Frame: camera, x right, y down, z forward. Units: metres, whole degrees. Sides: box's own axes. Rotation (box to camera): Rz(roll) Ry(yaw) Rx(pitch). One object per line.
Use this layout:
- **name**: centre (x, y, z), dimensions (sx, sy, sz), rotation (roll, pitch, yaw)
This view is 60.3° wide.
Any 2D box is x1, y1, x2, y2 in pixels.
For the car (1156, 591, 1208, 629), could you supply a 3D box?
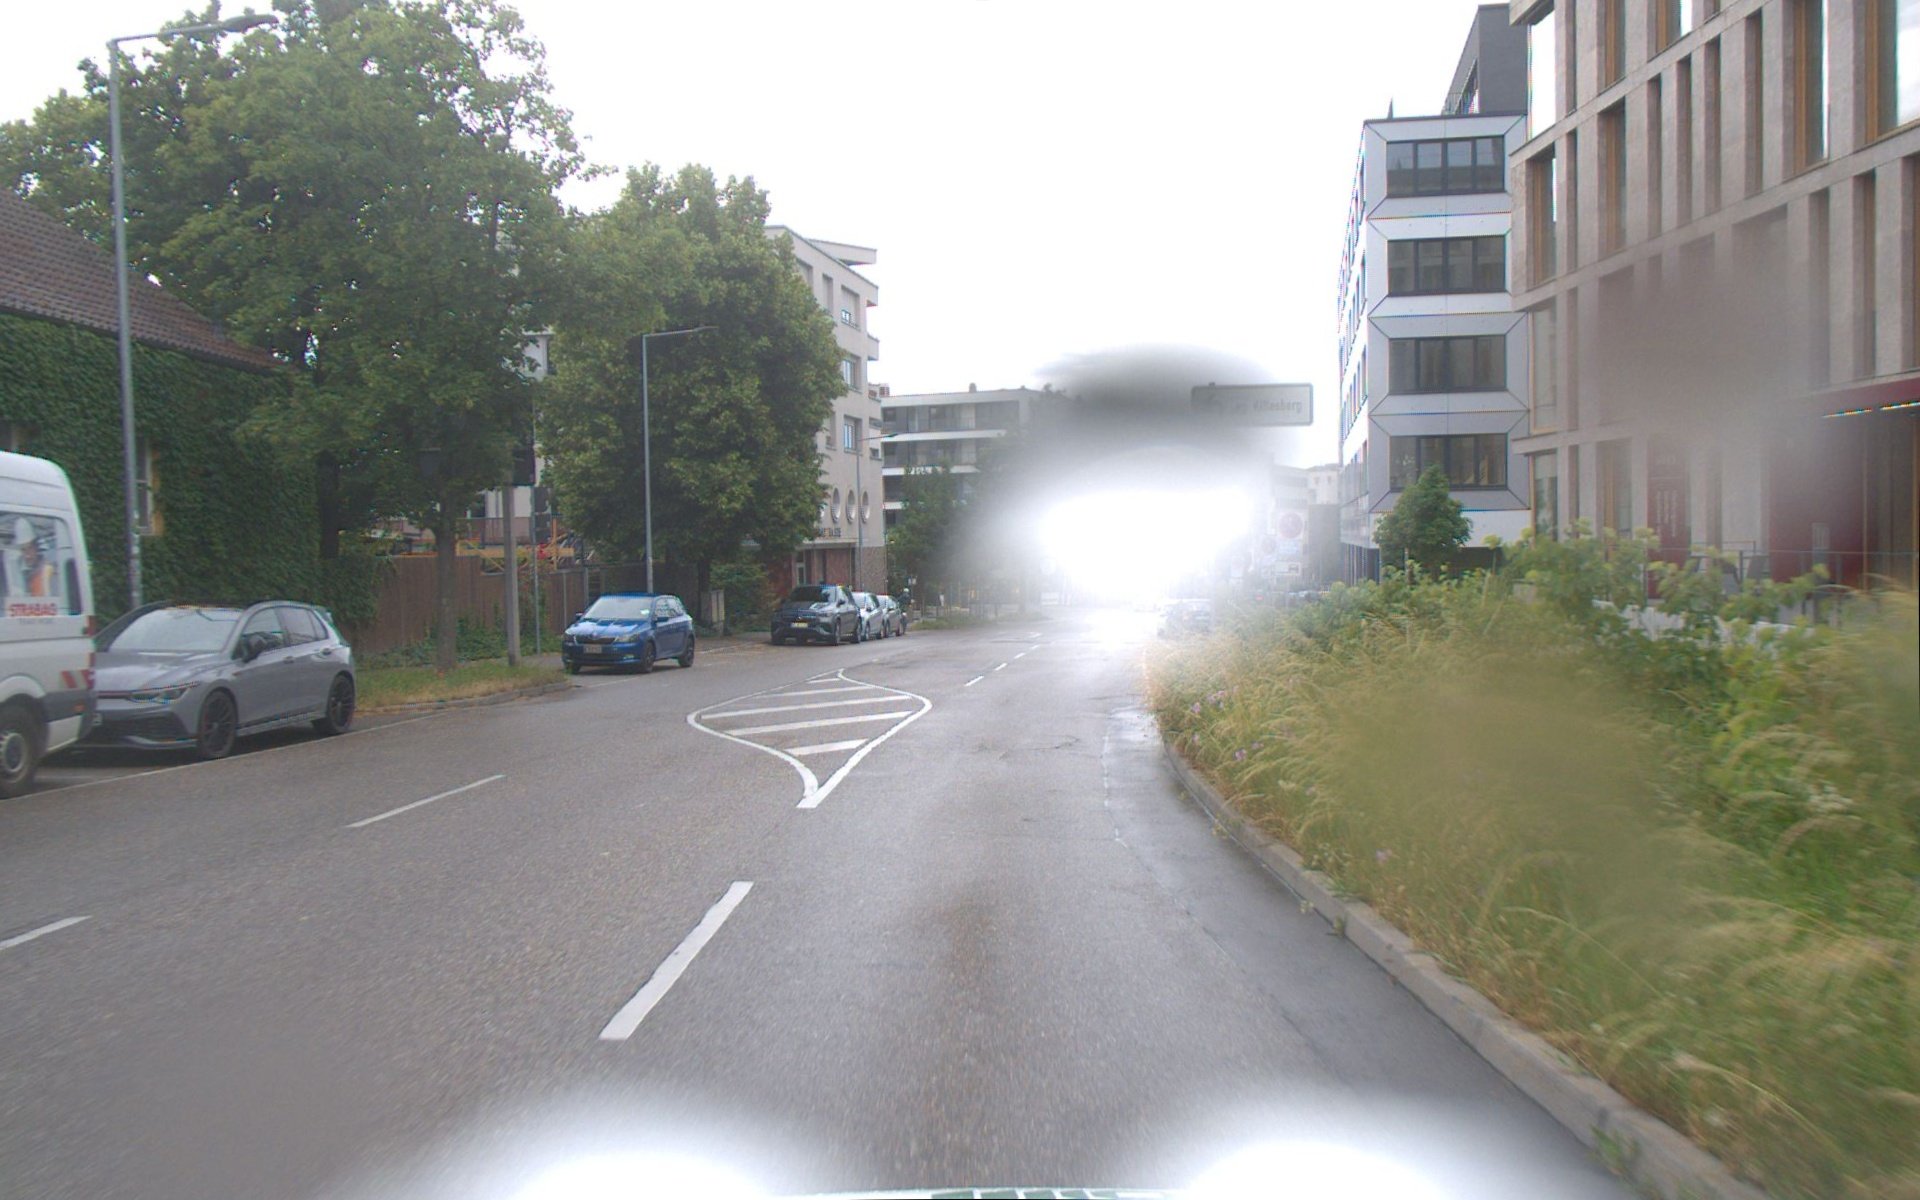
- **car**: centre (9.026, 0.373, 67.032), dimensions (1.996, 1.490, 4.506), rotation (0, 0, 8)

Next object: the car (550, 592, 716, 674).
- **car**: centre (-6.316, 0.597, 32.452), dimensions (1.951, 1.496, 4.189), rotation (0, 0, 8)

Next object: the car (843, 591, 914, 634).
- **car**: centre (-2.907, 0.436, 59.745), dimensions (1.839, 1.488, 3.850), rotation (0, 0, 9)

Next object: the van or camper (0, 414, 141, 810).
- **van or camper**: centre (-8.021, 0.096, 10.625), dimensions (2.291, 2.813, 6.144), rotation (0, 1, 2)

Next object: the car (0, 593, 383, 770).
- **car**: centre (-7.689, 0.711, 16.691), dimensions (1.952, 1.539, 4.425), rotation (0, 0, 4)

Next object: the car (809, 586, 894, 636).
- **car**: centre (-3.573, 0.350, 55.321), dimensions (1.947, 1.621, 4.493), rotation (0, 0, 8)

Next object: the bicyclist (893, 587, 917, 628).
- **bicyclist**: centre (-2.096, 0.290, 63.131), dimensions (0.784, 1.549, 1.202), rotation (0, 0, 3)

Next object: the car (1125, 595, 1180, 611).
- **car**: centre (15.349, 0.241, 131.850), dimensions (1.967, 1.315, 4.669), rotation (0, 0, 45)

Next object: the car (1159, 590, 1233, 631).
- **car**: centre (8.790, 0.372, 61.949), dimensions (2.003, 1.484, 4.053), rotation (0, 0, -3)

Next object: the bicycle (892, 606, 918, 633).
- **bicycle**: centre (-2.100, 0.738, 63.182), dimensions (0.785, 0.996, 2.255), rotation (0, 0, 3)

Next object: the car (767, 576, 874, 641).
- **car**: centre (-4.085, 0.244, 49.464), dimensions (1.951, 1.818, 5.415), rotation (0, 0, 9)

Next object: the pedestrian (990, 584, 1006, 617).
- **pedestrian**: centre (2.429, 0.034, 105.708), dimensions (1.033, 2.049, 1.100), rotation (0, 0, 1)

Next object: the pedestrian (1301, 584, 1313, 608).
- **pedestrian**: centre (26.348, -0.298, 125.508), dimensions (0.805, 1.827, 1.209), rotation (-1, -1, 16)

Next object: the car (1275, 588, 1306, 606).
- **car**: centre (28.011, -0.244, 140.129), dimensions (1.770, 1.510, 4.495), rotation (0, 0, 21)
